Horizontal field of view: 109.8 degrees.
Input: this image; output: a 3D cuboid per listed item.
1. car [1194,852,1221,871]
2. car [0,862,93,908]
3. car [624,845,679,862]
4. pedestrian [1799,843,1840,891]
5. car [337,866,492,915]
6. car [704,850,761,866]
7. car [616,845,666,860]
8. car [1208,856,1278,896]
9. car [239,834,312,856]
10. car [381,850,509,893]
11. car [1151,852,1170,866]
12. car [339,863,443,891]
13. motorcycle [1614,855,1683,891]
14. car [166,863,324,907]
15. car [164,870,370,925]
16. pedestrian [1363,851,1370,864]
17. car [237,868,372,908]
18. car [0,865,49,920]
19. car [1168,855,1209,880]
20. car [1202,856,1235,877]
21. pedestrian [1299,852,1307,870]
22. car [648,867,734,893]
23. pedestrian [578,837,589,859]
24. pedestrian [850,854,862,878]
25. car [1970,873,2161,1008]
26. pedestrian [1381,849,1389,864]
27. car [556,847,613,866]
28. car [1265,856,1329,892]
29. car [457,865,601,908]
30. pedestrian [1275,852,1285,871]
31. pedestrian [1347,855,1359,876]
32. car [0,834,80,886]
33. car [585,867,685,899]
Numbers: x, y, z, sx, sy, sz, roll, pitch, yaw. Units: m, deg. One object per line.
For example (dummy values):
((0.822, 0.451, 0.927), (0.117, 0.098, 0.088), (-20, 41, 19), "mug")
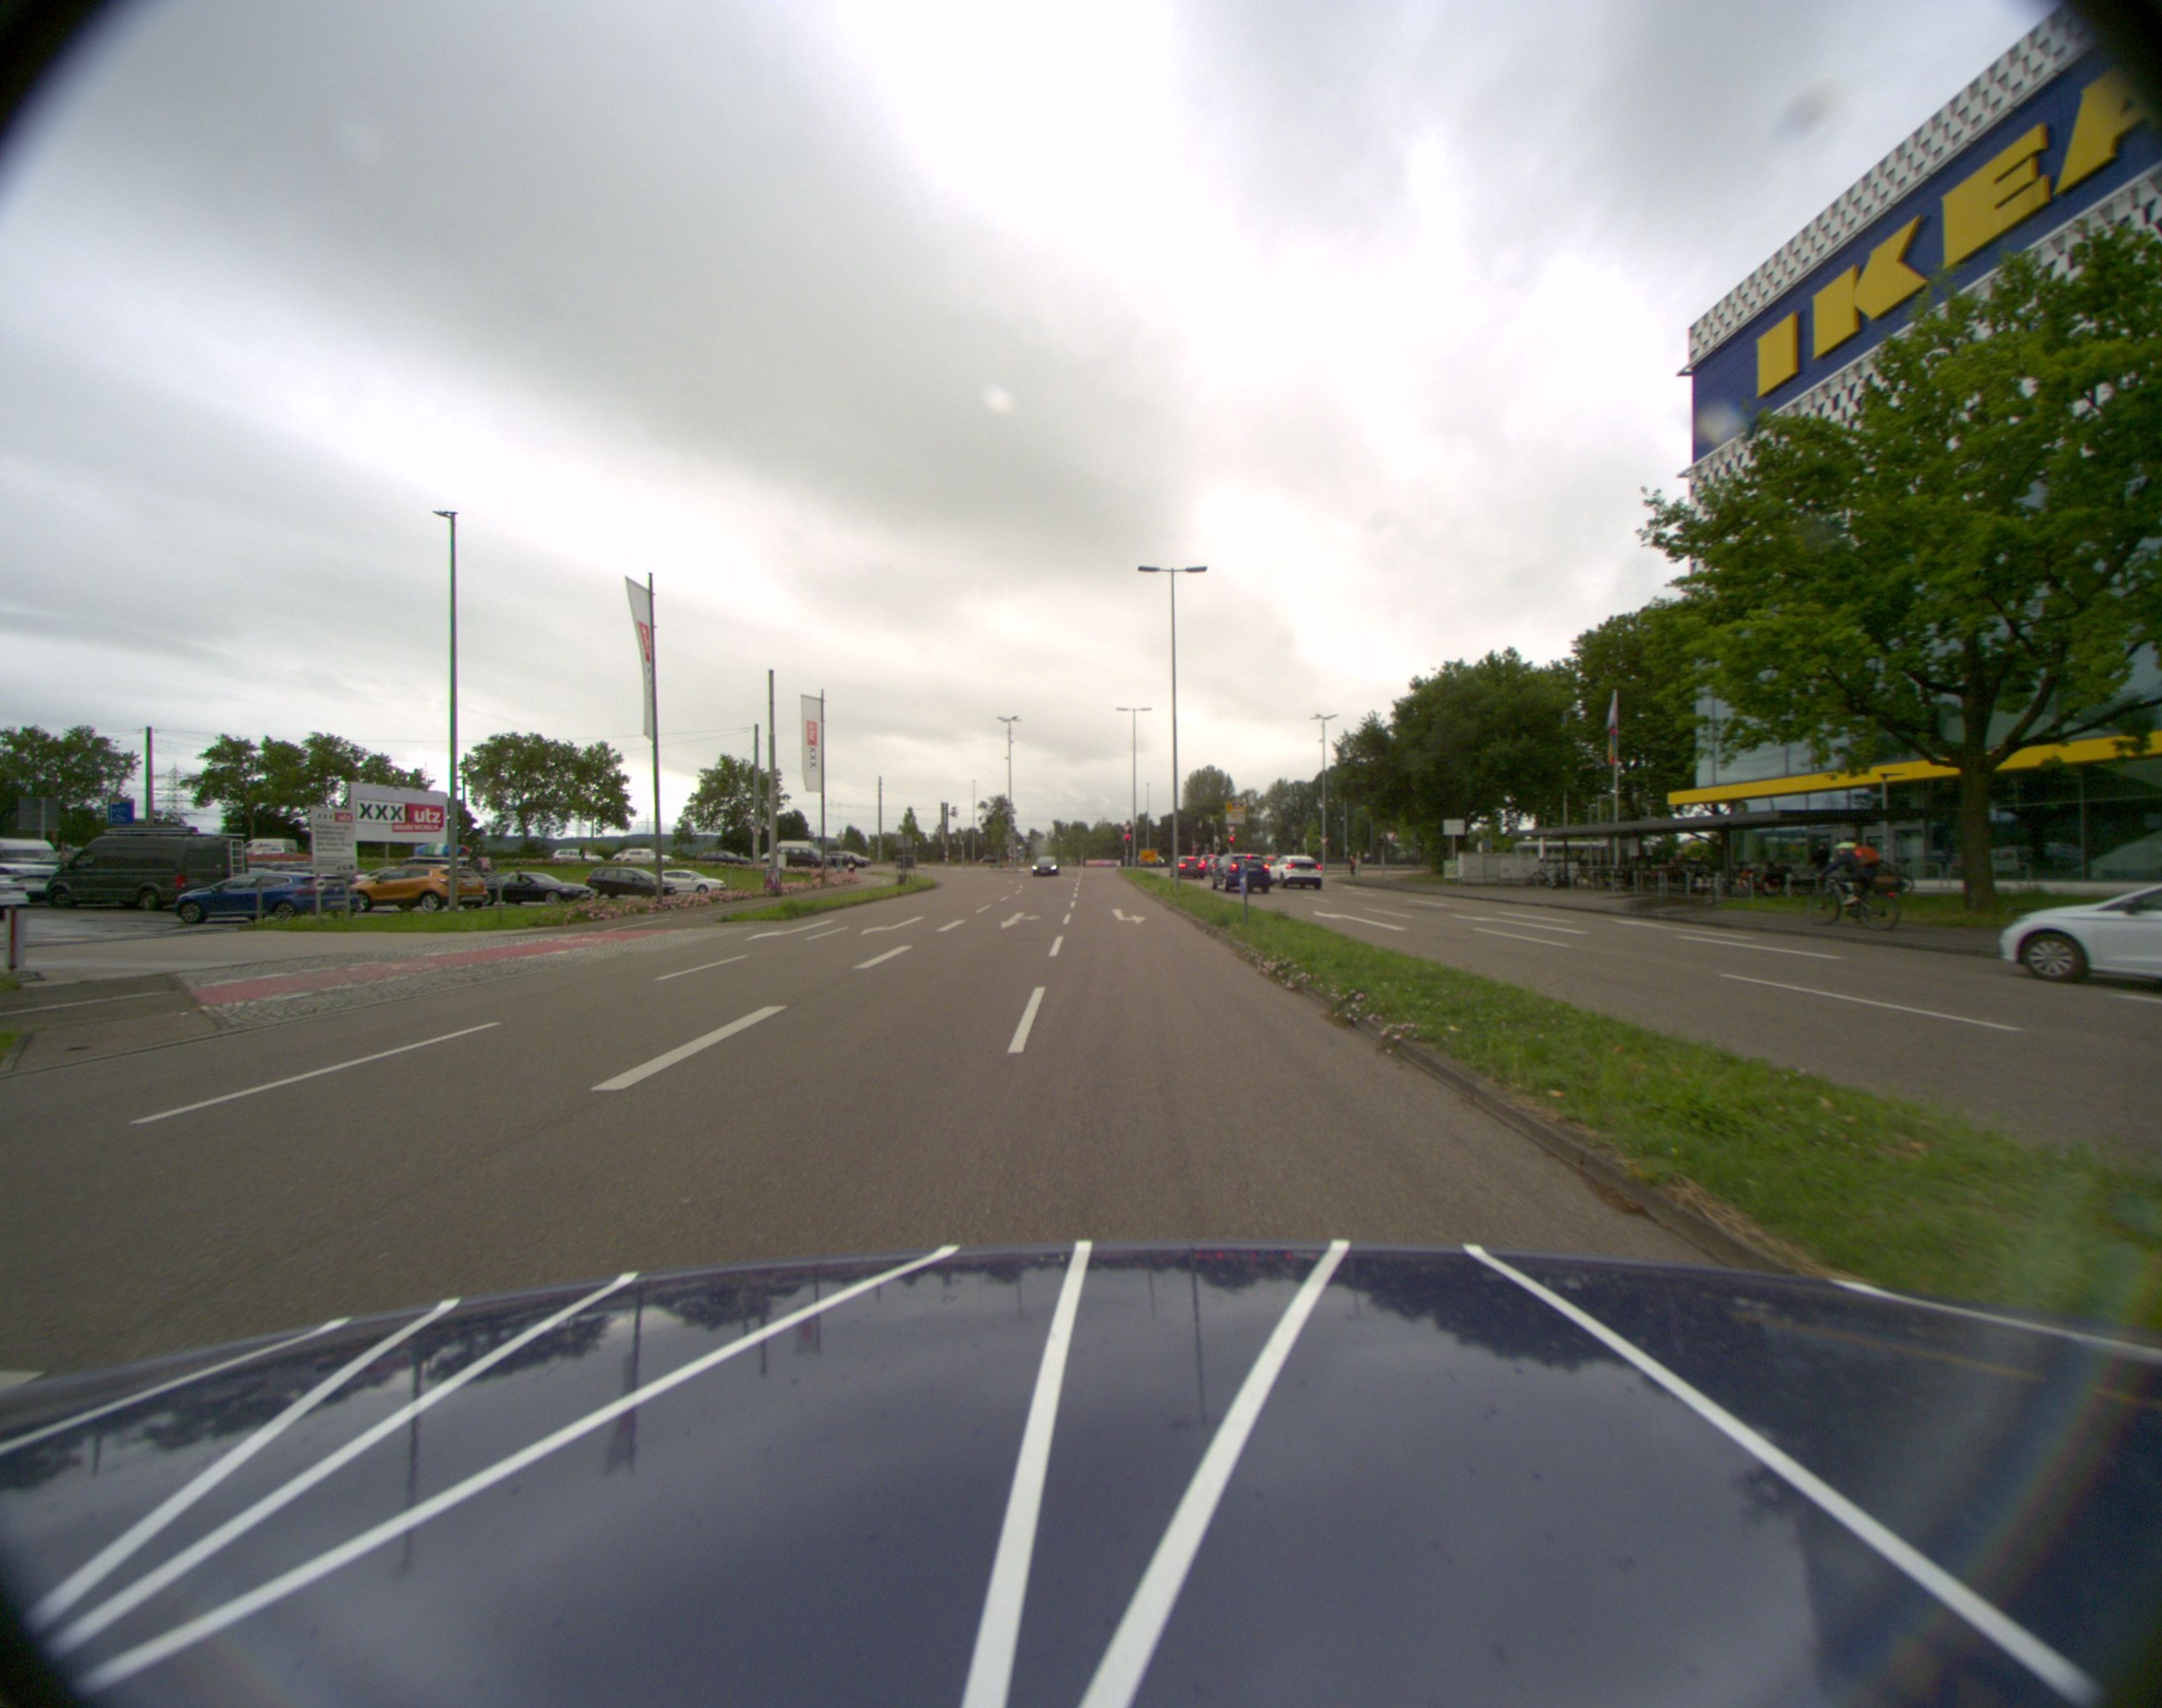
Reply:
((10.157, 0.592, 60.959), (1.606, 1.494, 3.209), (0, 0, 0), "car")
((-38.249, 1.089, 26.977), (3.996, 1.546, 1.855), (-1, 0, 2), "car")
((-39.231, -0.050, 69.495), (4.042, 1.529, 1.734), (0, -2, 1), "car")
((27.209, 0.489, 27.997), (0.679, 1.735, 0.808), (-1, 0, 1), "pedestrian")
((-23.269, 1.260, 26.619), (3.995, 1.634, 1.816), (0, 1, 6), "car")
((-31.773, 0.349, 69.249), (4.316, 1.455, 1.970), (1, 0, 6), "car")
((-56.063, -0.174, 96.938), (5.121, 1.868, 2.099), (1, -2, -10), "car")
((6.523, 0.834, 31.034), (1.936, 1.477, 4.439), (1, 0, 0), "car")
((-100.337, -1.125, 94.669), (5.897, 2.609, 2.665), (0, -2, -5), "car")
((-32.891, 0.885, 39.371), (5.045, 2.153, 2.123), (0, 1, 6), "car")
((8.587, 0.566, 82.767), (1.676, 1.400, 4.374), (-1, -2, 1), "car")
((-37.835, 1.272, 41.715), (4.207, 1.467, 1.746), (0, 1, 3), "car")
((23.514, 0.783, 31.481), (2.500, 1.347, 0.799), (-3, 0, -11), "motorcycle")
((-32.617, 1.183, 29.729), (3.996, 1.559, 2.000), (-1, 0, 2), "car")
((-23.184, 1.214, 21.745), (3.996, 1.447, 1.814), (-1, 1, 2), "car")
((34.830, 0.399, 92.784), (0.632, 1.550, 0.711), (-1, -2, 3), "pedestrian")
((-32.931, 1.442, 32.295), (3.995, 1.546, 1.948), (-1, 0, 7), "car")
((-32.972, 1.138, 21.893), (3.996, 1.543, 1.864), (-1, 1, 2), "car")
((6.854, 0.819, 48.737), (1.888, 1.428, 4.430), (1, 1, -1), "car")
((9.974, 0.879, 55.296), (1.666, 1.494, 4.065), (0, 0, 0), "car")
((22.224, 0.704, 76.155), (0.675, 1.702, 0.766), (0, 1, 5), "pedestrian")
((-22.899, 1.534, 44.714), (4.117, 1.437, 1.876), (-1, -2, 0), "car")
((-41.494, -0.509, 63.367), (0.545, 1.771, 0.636), (-2, -2, 41), "pedestrian")
((-15.363, 0.814, 51.847), (0.717, 1.588, 0.782), (-1, 3, -17), "pedestrian")
((12.854, 0.990, 8.099), (1.870, 1.445, 4.169), (1, 0, 1), "car")
((37.242, 0.318, 93.036), (0.586, 1.731, 0.788), (-1, -2, 3), "pedestrian")
((-45.463, 0.258, 69.648), (4.073, 1.592, 1.747), (-1, -2, -1), "car")
((10.182, 0.893, 36.146), (1.935, 1.510, 4.182), (0, 1, 1), "car")
((-22.908, 1.332, 31.679), (4.539, 1.575, 1.767), (-1, 4, -4), "car")
((19.118, 0.746, 72.937), (0.664, 1.756, 0.686), (2, 4, -2), "pedestrian")
((21.869, 0.949, 61.060), (0.635, 1.633, 0.809), (-1, 3, -2), "pedestrian")
((-64.462, 0.419, 44.875), (6.946, 2.971, 2.770), (-1, -2, 0), "car")
((-22.980, 1.466, 39.289), (4.103, 1.573, 1.770), (-1, -1, -2), "car")
